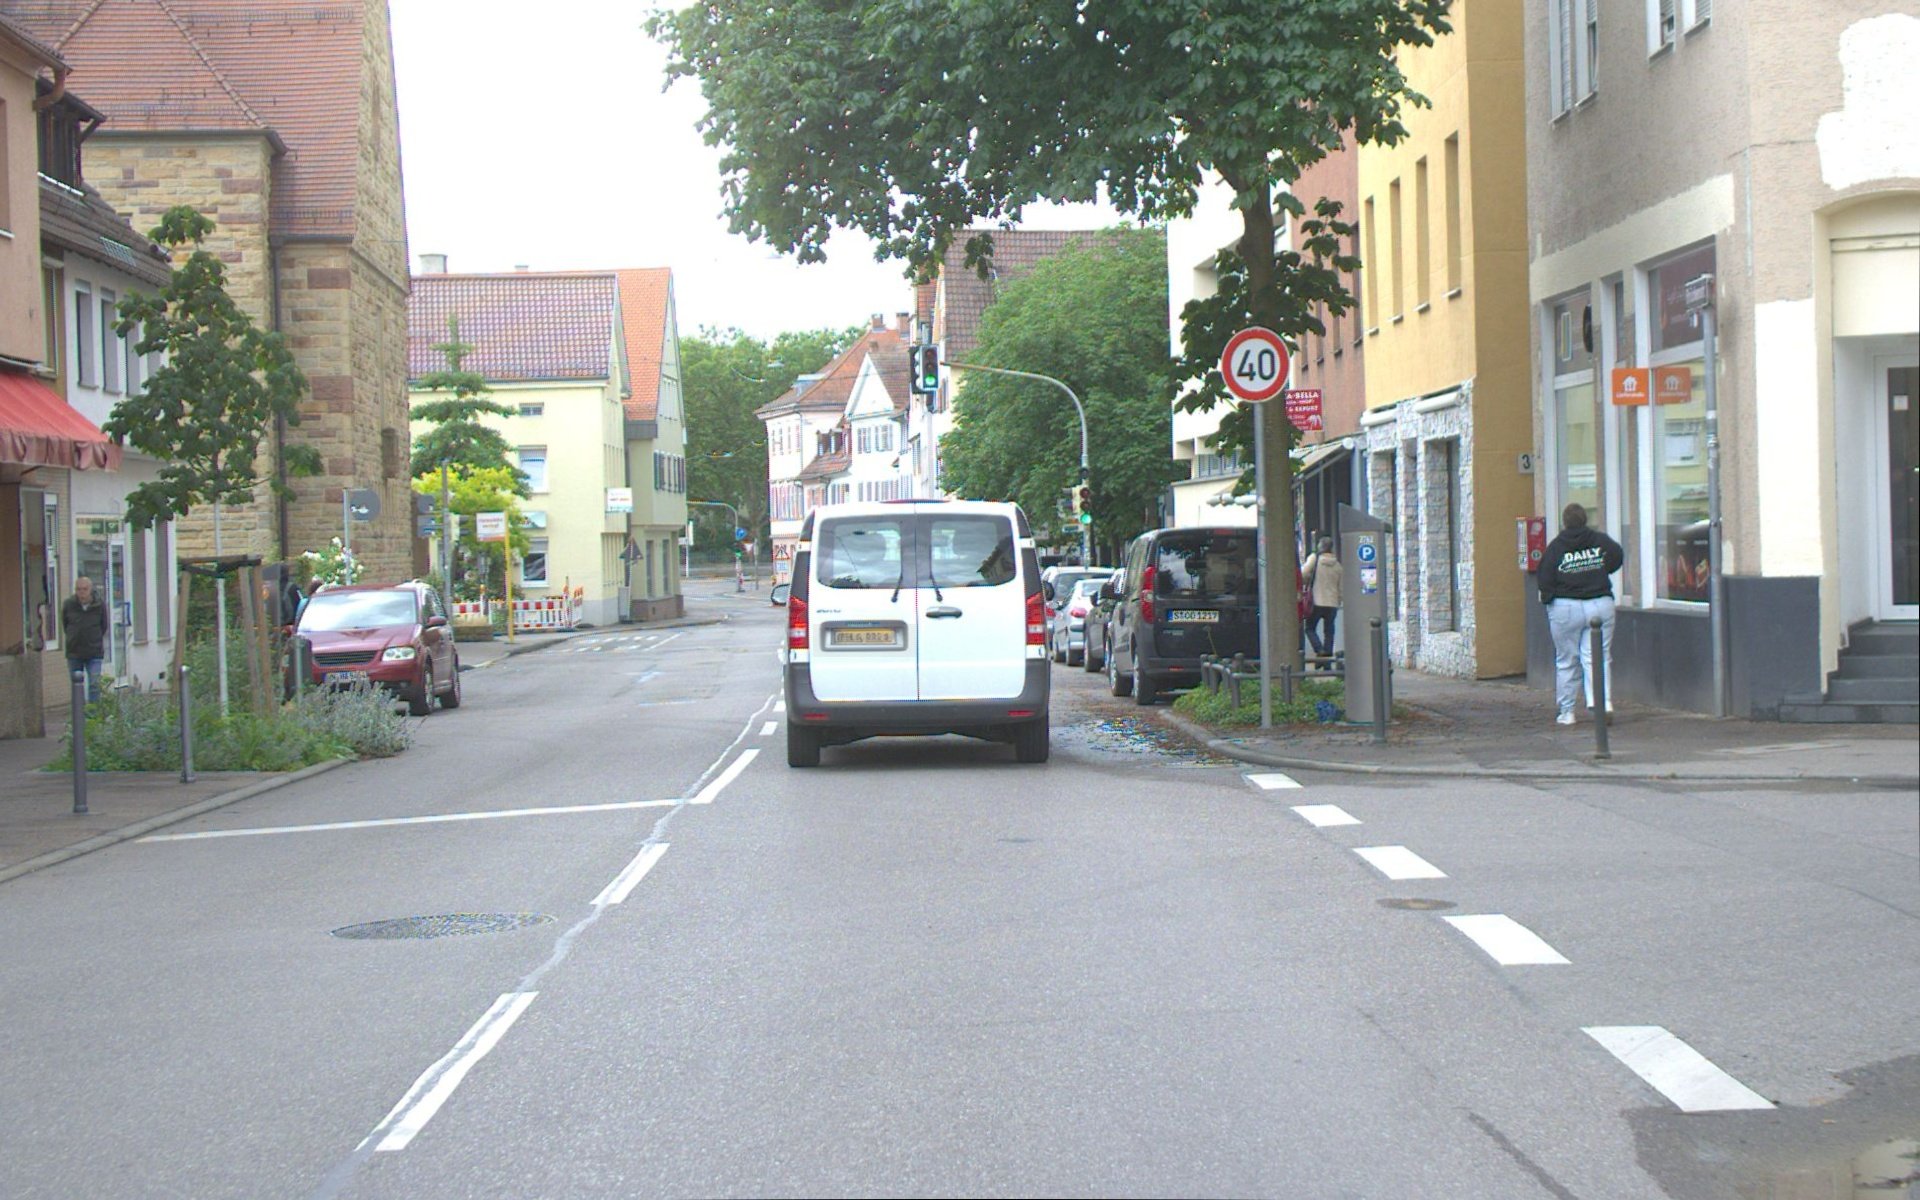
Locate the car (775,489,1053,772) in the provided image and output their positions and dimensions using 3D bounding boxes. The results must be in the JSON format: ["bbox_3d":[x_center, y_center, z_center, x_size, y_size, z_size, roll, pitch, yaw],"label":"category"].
[{"bbox_3d":[-0.352,0.190,25.528,1.872,1.905,4.000,-1,1,-1],"label":"car"}]

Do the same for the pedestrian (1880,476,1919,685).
[{"bbox_3d":[7.284,-0.148,25.862,0.567,1.555,0.521,0,0,-1],"label":"pedestrian"}]

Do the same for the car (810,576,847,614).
[{"bbox_3d":[-6.960,-0.252,181.723,1.934,2.007,4.000,0,0,-3],"label":"car"}]

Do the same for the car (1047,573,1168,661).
[{"bbox_3d":[2.319,0.256,54.714,1.551,1.328,3.813,-1,0,-3],"label":"car"}]

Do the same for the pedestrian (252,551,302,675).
[{"bbox_3d":[-10.271,0.194,51.727,0.571,1.842,0.697,2,0,-1],"label":"pedestrian"}]

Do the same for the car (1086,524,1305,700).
[{"bbox_3d":[2.496,0.117,37.440,1.819,1.775,4.404,-1,0,-3],"label":"car"}]

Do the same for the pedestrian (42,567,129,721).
[{"bbox_3d":[-9.423,0.460,37.028,0.730,1.623,0.758,-1,1,-26],"label":"pedestrian"}]

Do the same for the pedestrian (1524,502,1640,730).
[{"bbox_3d":[4.615,0.111,25.550,0.614,1.647,0.983,-1,1,-2],"label":"pedestrian"}]

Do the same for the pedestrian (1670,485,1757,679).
[{"bbox_3d":[6.105,-0.146,27.879,0.567,1.555,0.556,0,0,-1],"label":"pedestrian"}]

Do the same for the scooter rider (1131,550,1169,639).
[{"bbox_3d":[3.592,-0.101,65.028,0.452,1.626,0.505,-4,-1,-16],"label":"scooter rider"}]

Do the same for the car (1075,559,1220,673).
[{"bbox_3d":[2.648,0.214,49.360,1.601,1.513,4.209,-2,0,-3],"label":"car"}]

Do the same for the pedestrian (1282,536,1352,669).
[{"bbox_3d":[4.507,0.021,43.495,0.701,1.643,0.889,-2,1,-2],"label":"pedestrian"}]

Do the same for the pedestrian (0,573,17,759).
[{"bbox_3d":[-8.286,0.546,28.415,0.738,1.529,0.983,-1,1,-3],"label":"pedestrian"}]

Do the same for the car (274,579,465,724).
[{"bbox_3d":[-7.228,0.586,42.457,1.702,1.568,4.451,-3,1,-2],"label":"car"}]

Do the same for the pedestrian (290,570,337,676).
[{"bbox_3d":[-9.601,0.334,51.060,0.571,1.549,0.697,1,0,-1],"label":"pedestrian"}]

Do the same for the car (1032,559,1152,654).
[{"bbox_3d":[2.249,0.099,59.367,1.711,1.555,3.786,-1,0,-3],"label":"car"}]
